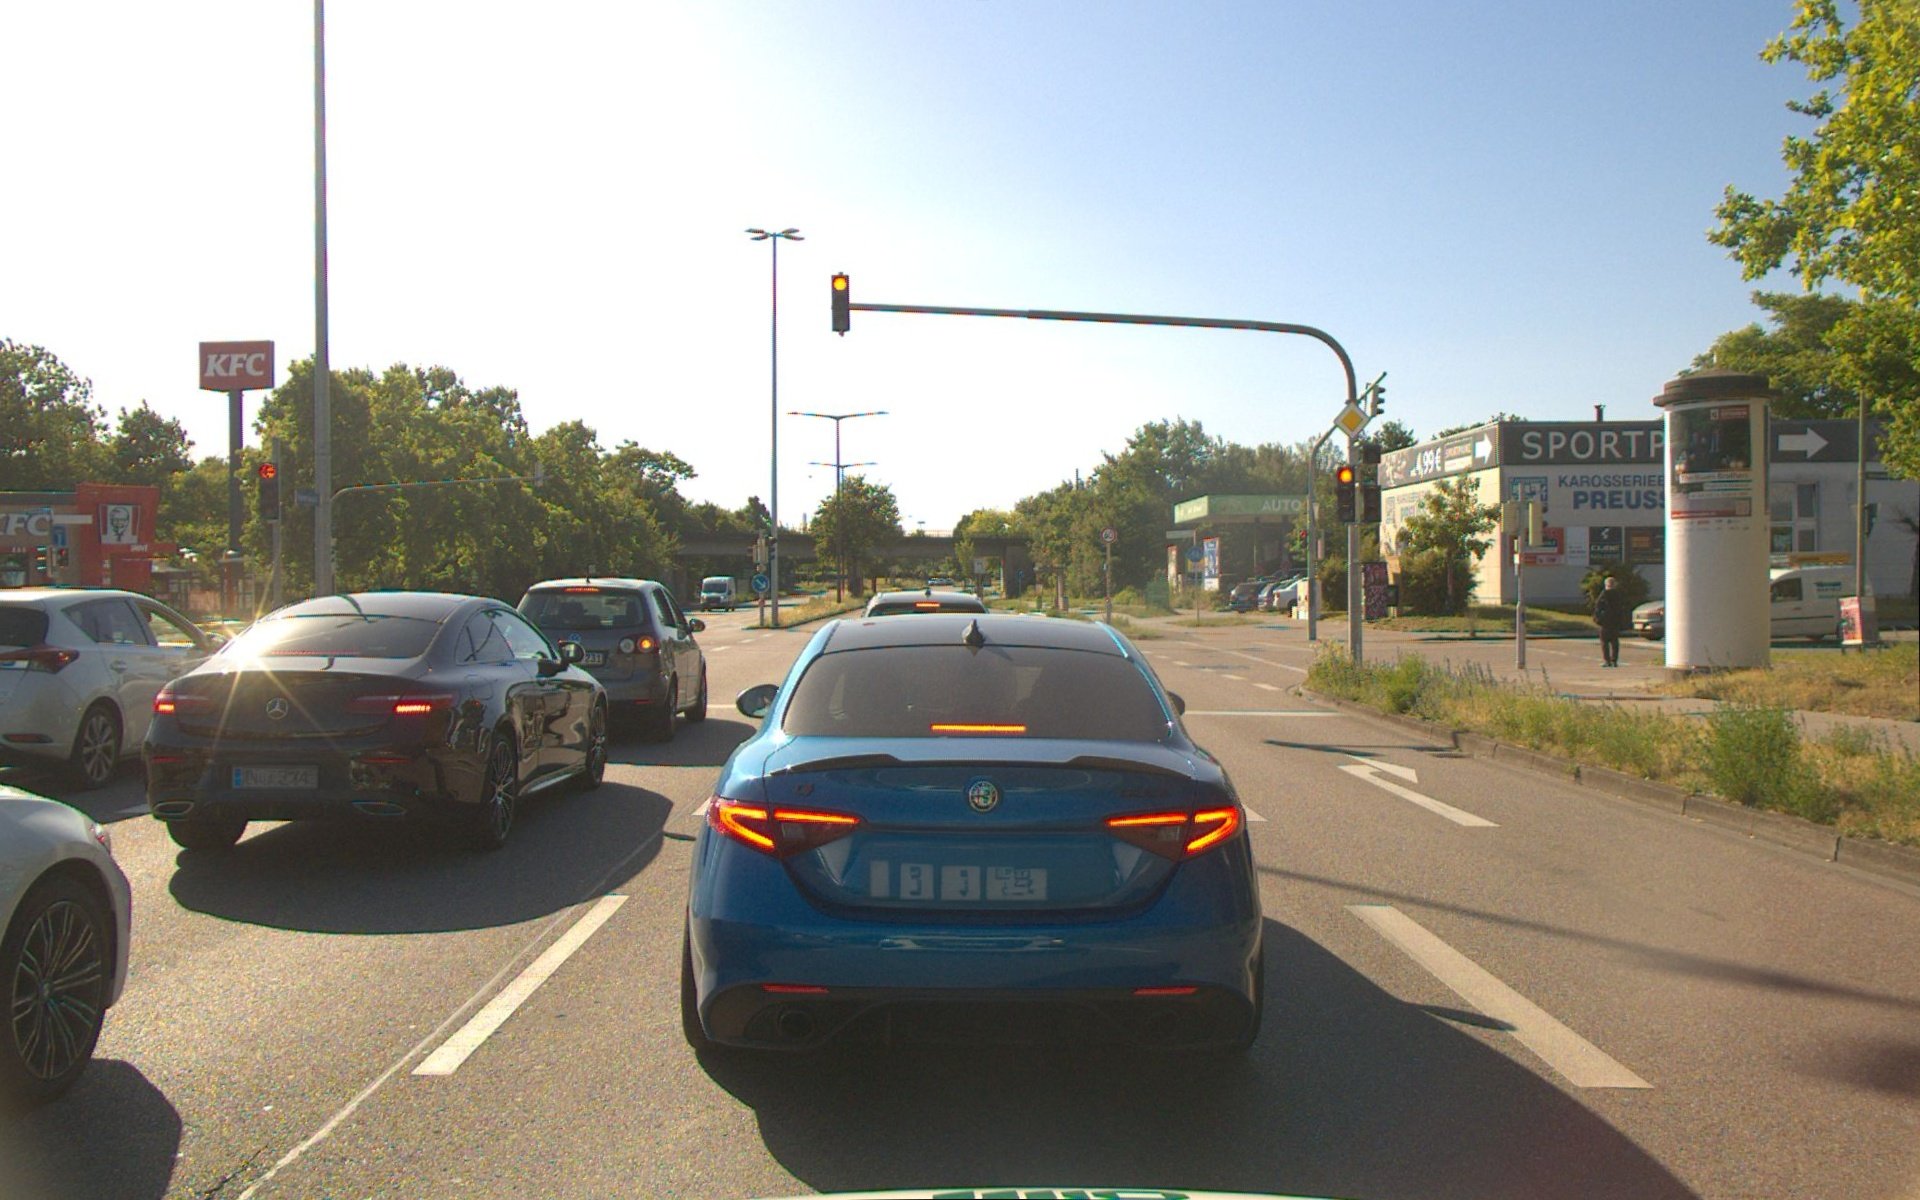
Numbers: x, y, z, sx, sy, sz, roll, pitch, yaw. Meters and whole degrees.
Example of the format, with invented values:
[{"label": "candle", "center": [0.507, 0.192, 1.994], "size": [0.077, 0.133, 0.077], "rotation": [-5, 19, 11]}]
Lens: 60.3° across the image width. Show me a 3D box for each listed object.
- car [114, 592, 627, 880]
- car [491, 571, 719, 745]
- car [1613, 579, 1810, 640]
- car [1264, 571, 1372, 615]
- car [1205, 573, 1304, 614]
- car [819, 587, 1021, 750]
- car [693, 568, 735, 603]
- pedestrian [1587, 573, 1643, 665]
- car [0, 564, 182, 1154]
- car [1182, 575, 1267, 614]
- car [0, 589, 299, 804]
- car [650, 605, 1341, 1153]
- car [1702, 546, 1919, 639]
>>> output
[{"label": "car", "center": [-3.415, 0.672, 10.566], "size": [1.732, 1.439, 4.460], "rotation": [0, 0, -1]}, {"label": "car", "center": [-3.612, 0.526, 17.483], "size": [1.615, 1.626, 3.931], "rotation": [0, 0, -1]}, {"label": "car", "center": [19.790, 0.236, 43.667], "size": [4.318, 1.580, 1.998], "rotation": [0, 0, -4]}, {"label": "car", "center": [14.344, -0.275, 66.319], "size": [3.923, 1.736, 1.687], "rotation": [0, 0, -17]}, {"label": "car", "center": [12.672, -0.265, 71.149], "size": [3.928, 1.736, 1.686], "rotation": [0, 0, -20]}, {"label": "car", "center": [-0.394, 0.611, 17.051], "size": [1.828, 1.475, 3.931], "rotation": [0, 0, -1]}, {"label": "car", "center": [-17.783, -1.066, 119.842], "size": [2.383, 2.469, 5.828], "rotation": [0, 0, -2]}, {"label": "pedestrian", "center": [12.721, 0.359, 32.140], "size": [0.805, 1.752, 0.854], "rotation": [0, 0, 6]}, {"label": "car", "center": [-3.350, 0.686, 3.093], "size": [1.732, 1.535, 4.460], "rotation": [0, 0, -1]}, {"label": "car", "center": [11.877, -0.260, 74.327], "size": [3.428, 1.736, 1.688], "rotation": [0, 0, -16]}, {"label": "car", "center": [-7.145, 0.645, 13.447], "size": [1.819, 1.454, 4.403], "rotation": [0, 0, -1]}, {"label": "car", "center": [0.071, 0.750, 6.361], "size": [1.828, 1.409, 3.931], "rotation": [0, 0, -1]}, {"label": "car", "center": [20.601, -0.184, 40.155], "size": [4.318, 2.183, 1.998], "rotation": [0, 0, -4]}]
